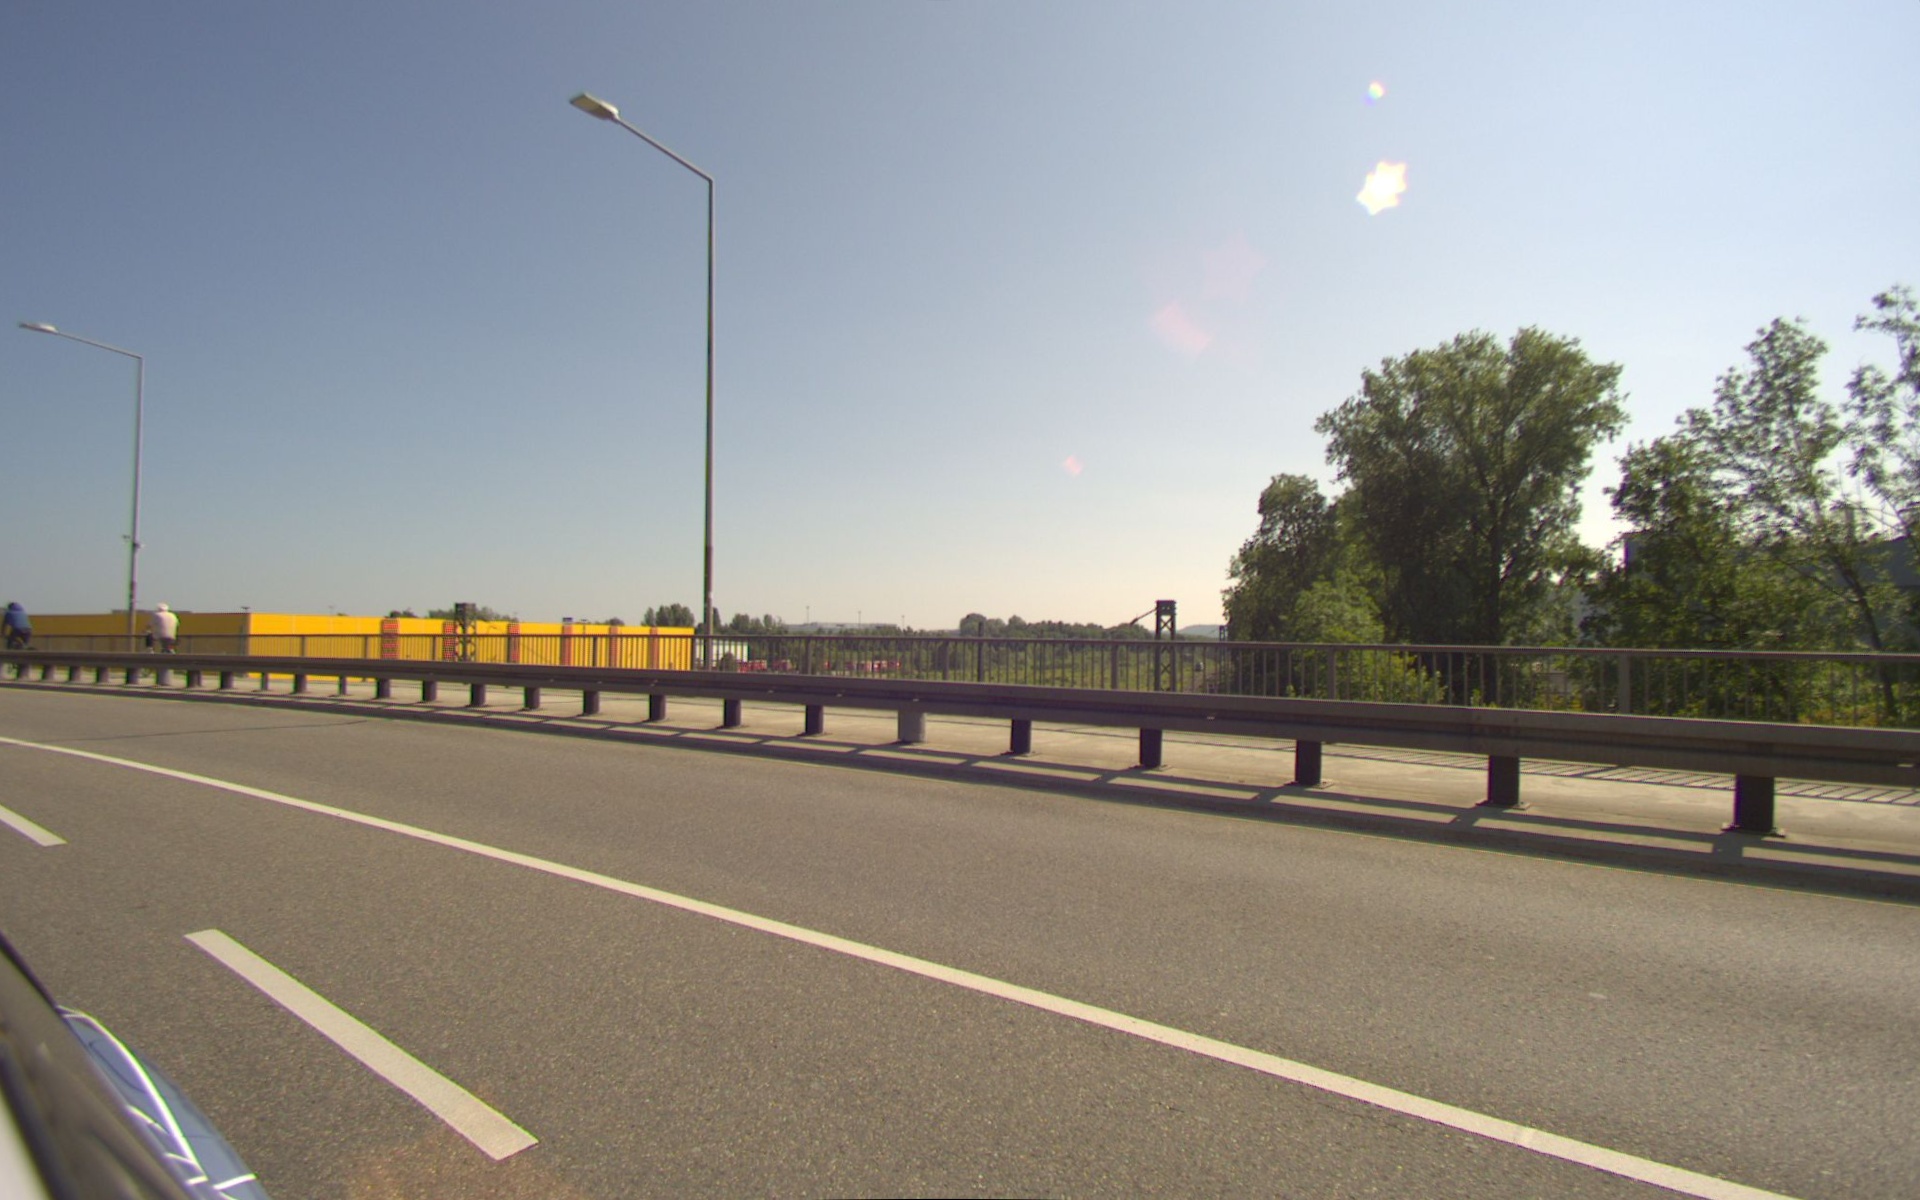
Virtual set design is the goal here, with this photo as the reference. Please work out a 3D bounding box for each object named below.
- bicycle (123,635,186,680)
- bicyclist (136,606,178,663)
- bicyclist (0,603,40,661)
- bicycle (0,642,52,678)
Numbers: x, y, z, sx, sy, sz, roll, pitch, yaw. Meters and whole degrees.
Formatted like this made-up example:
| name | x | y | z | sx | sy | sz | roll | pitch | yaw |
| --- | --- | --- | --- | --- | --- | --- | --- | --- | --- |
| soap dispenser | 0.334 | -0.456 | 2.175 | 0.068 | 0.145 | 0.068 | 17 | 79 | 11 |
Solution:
| name | x | y | z | sx | sy | sz | roll | pitch | yaw |
| --- | --- | --- | --- | --- | --- | --- | --- | --- | --- |
| bicycle | -19.309 | 1.375 | 24.252 | 1.703 | 1.055 | 0.570 | -2 | -4 | 31 |
| bicyclist | -19.228 | 0.810 | 24.228 | 0.943 | 1.339 | 0.485 | 0 | 0 | 30 |
| bicyclist | -25.046 | 0.853 | 26.864 | 1.012 | 1.508 | 0.656 | -3 | -2 | 30 |
| bicycle | -25.096 | 1.596 | 26.875 | 1.959 | 0.898 | 0.922 | -2 | -2 | 30 |
